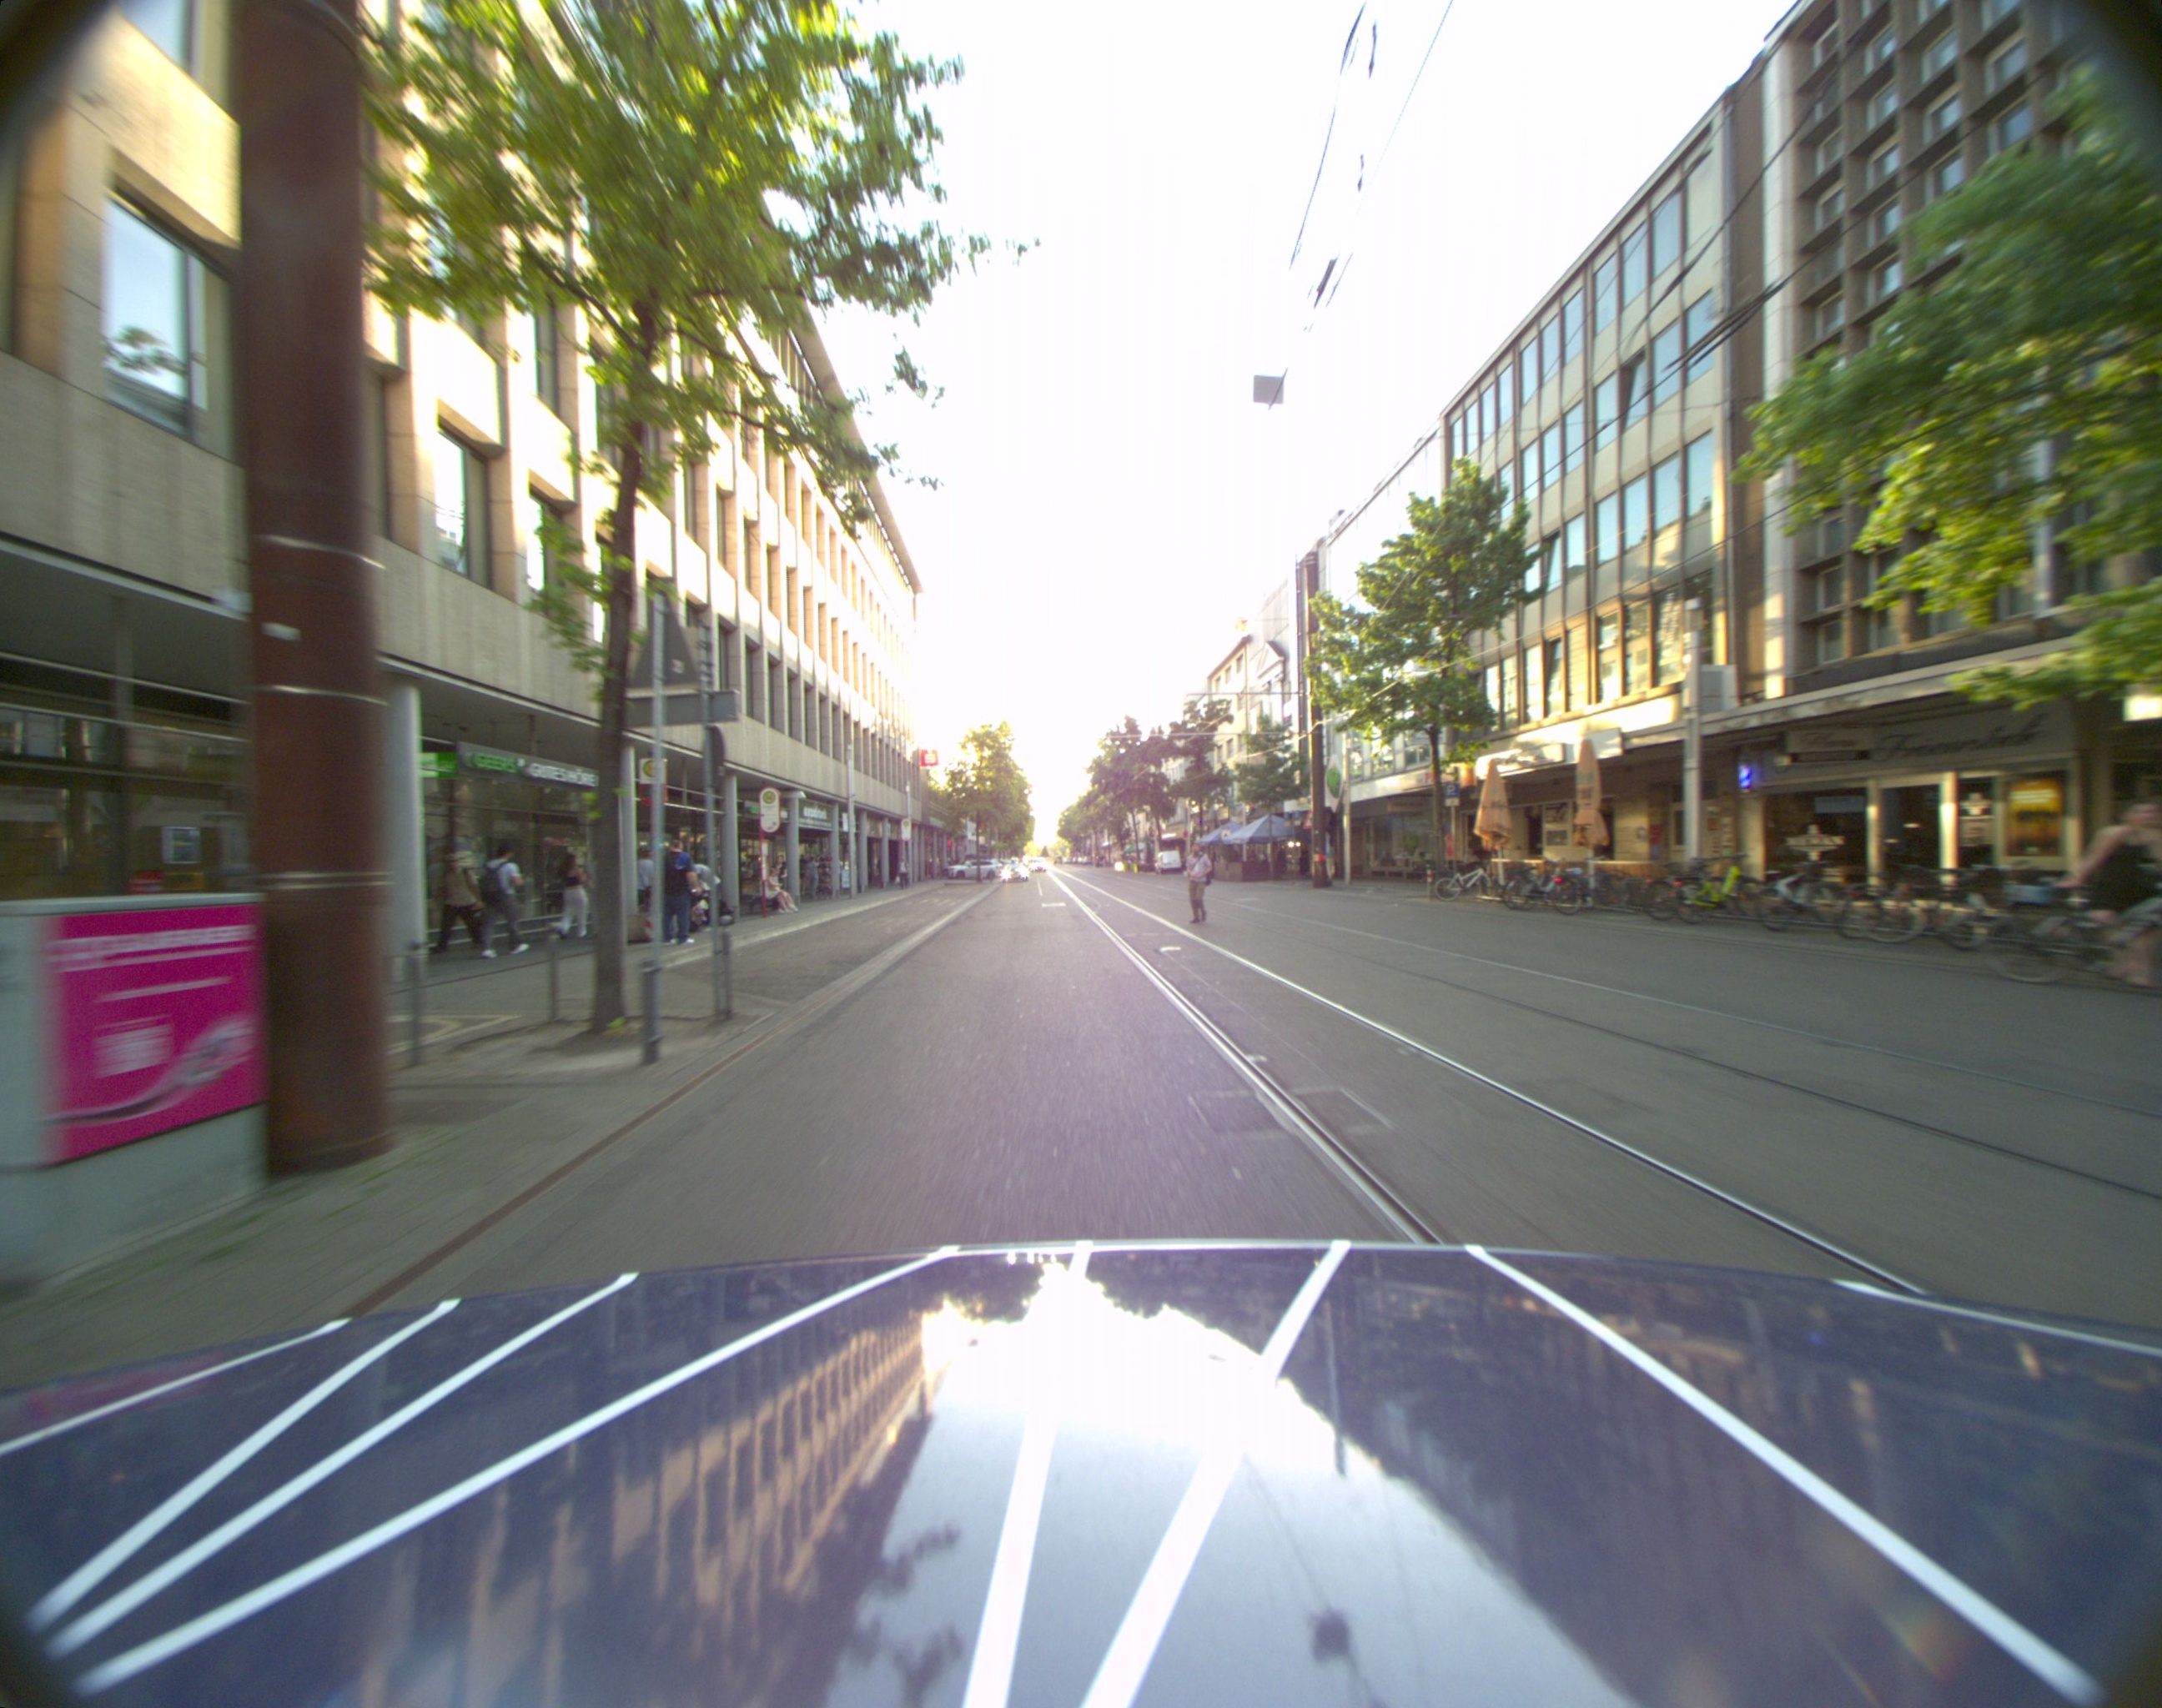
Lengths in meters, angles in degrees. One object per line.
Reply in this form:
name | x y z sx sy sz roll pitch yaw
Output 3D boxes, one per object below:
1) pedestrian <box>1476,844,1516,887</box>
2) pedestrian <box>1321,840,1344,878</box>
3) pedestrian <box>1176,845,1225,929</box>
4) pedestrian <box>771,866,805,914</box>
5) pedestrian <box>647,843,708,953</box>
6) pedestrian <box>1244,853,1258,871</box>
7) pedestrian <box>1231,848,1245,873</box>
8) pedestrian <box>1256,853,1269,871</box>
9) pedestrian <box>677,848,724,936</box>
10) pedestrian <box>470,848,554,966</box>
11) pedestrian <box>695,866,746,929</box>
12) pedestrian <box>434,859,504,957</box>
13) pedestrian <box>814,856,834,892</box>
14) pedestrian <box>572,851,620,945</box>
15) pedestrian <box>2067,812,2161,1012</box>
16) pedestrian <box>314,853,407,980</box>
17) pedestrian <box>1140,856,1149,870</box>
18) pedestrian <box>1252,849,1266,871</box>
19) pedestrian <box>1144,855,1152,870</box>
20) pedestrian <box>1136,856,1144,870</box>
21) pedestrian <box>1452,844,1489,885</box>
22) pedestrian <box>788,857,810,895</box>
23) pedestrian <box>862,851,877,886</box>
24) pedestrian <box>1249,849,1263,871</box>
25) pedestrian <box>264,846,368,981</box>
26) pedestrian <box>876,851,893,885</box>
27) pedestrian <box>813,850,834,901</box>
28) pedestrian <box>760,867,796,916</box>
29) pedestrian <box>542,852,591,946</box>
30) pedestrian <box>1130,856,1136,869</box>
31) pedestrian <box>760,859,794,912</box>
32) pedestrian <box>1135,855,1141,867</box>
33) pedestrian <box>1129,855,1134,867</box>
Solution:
pedestrian | 13.296 0.350 24.363 0.672 1.318 0.911 -4 1 -4
pedestrian | 12.260 0.249 37.061 0.686 1.782 0.990 -4 1 -3
pedestrian | 2.641 0.715 16.768 0.820 1.782 0.992 -2 0 21
pedestrian | -8.337 1.013 21.613 0.720 1.307 0.524 -2 1 -1
pedestrian | -6.945 0.735 13.096 0.670 1.829 0.708 0 1 -3
pedestrian | 11.328 0.538 50.613 0.643 1.150 0.665 -4 1 -5
pedestrian | 9.966 0.423 48.346 0.658 1.543 0.565 -4 2 -5
pedestrian | 12.131 0.508 50.798 0.643 1.150 0.665 -4 1 -5
pedestrian | -7.997 0.782 15.996 0.641 1.829 0.667 0 1 -2
pedestrian | -9.102 0.818 12.183 0.670 1.829 0.879 0 1 -3
pedestrian | -8.314 0.991 17.553 0.815 1.373 0.662 -2 1 -1
pedestrian | -10.613 0.915 13.194 0.650 1.651 0.680 0 1 -2
pedestrian | -11.788 0.907 34.839 0.682 1.634 0.788 0 1 -4
pedestrian | -9.475 0.844 14.867 0.540 1.796 0.604 0 1 -4
pedestrian | 9.281 0.486 6.640 0.601 1.689 0.537 -2 0 26
pedestrian | -10.277 0.866 10.870 0.584 1.742 0.773 0 1 -4
pedestrian | 6.351 0.895 76.415 0.648 1.451 0.651 -1 1 27
pedestrian | 12.309 0.425 52.525 0.662 1.426 0.642 -6 2 -3
pedestrian | 6.819 0.872 77.224 0.649 1.451 0.651 -1 0 14
pedestrian | 6.017 0.899 77.339 0.650 1.451 0.650 -1 0 -2
pedestrian | 13.096 0.351 25.548 0.672 1.318 0.911 -4 1 -4
pedestrian | -12.611 0.972 34.008 0.712 1.634 0.818 0 1 -4
pedestrian | -11.544 0.785 41.517 0.618 1.878 0.683 0 1 -2
pedestrian | 12.261 0.421 53.242 0.662 1.426 0.642 -6 2 -3
pedestrian | -10.946 0.820 10.901 0.689 1.872 0.773 0 1 -4
pedestrian | -10.981 0.786 42.444 0.709 1.878 0.796 0 1 -2
pedestrian | -9.807 0.815 28.971 0.579 1.933 0.655 0 1 -3
pedestrian | -8.397 1.020 21.062 0.720 1.307 0.532 -2 1 -1
pedestrian | -10.062 0.864 14.880 0.540 1.796 0.604 0 1 -4
pedestrian | 5.696 0.895 83.623 0.649 1.378 0.650 -1 0 4
pedestrian | -9.132 0.930 22.856 0.726 1.561 0.736 0 1 -1
pedestrian | 6.534 0.833 87.545 0.649 1.378 0.650 -1 0 4
pedestrian | 5.895 0.845 88.772 0.649 1.378 0.650 -1 0 4
